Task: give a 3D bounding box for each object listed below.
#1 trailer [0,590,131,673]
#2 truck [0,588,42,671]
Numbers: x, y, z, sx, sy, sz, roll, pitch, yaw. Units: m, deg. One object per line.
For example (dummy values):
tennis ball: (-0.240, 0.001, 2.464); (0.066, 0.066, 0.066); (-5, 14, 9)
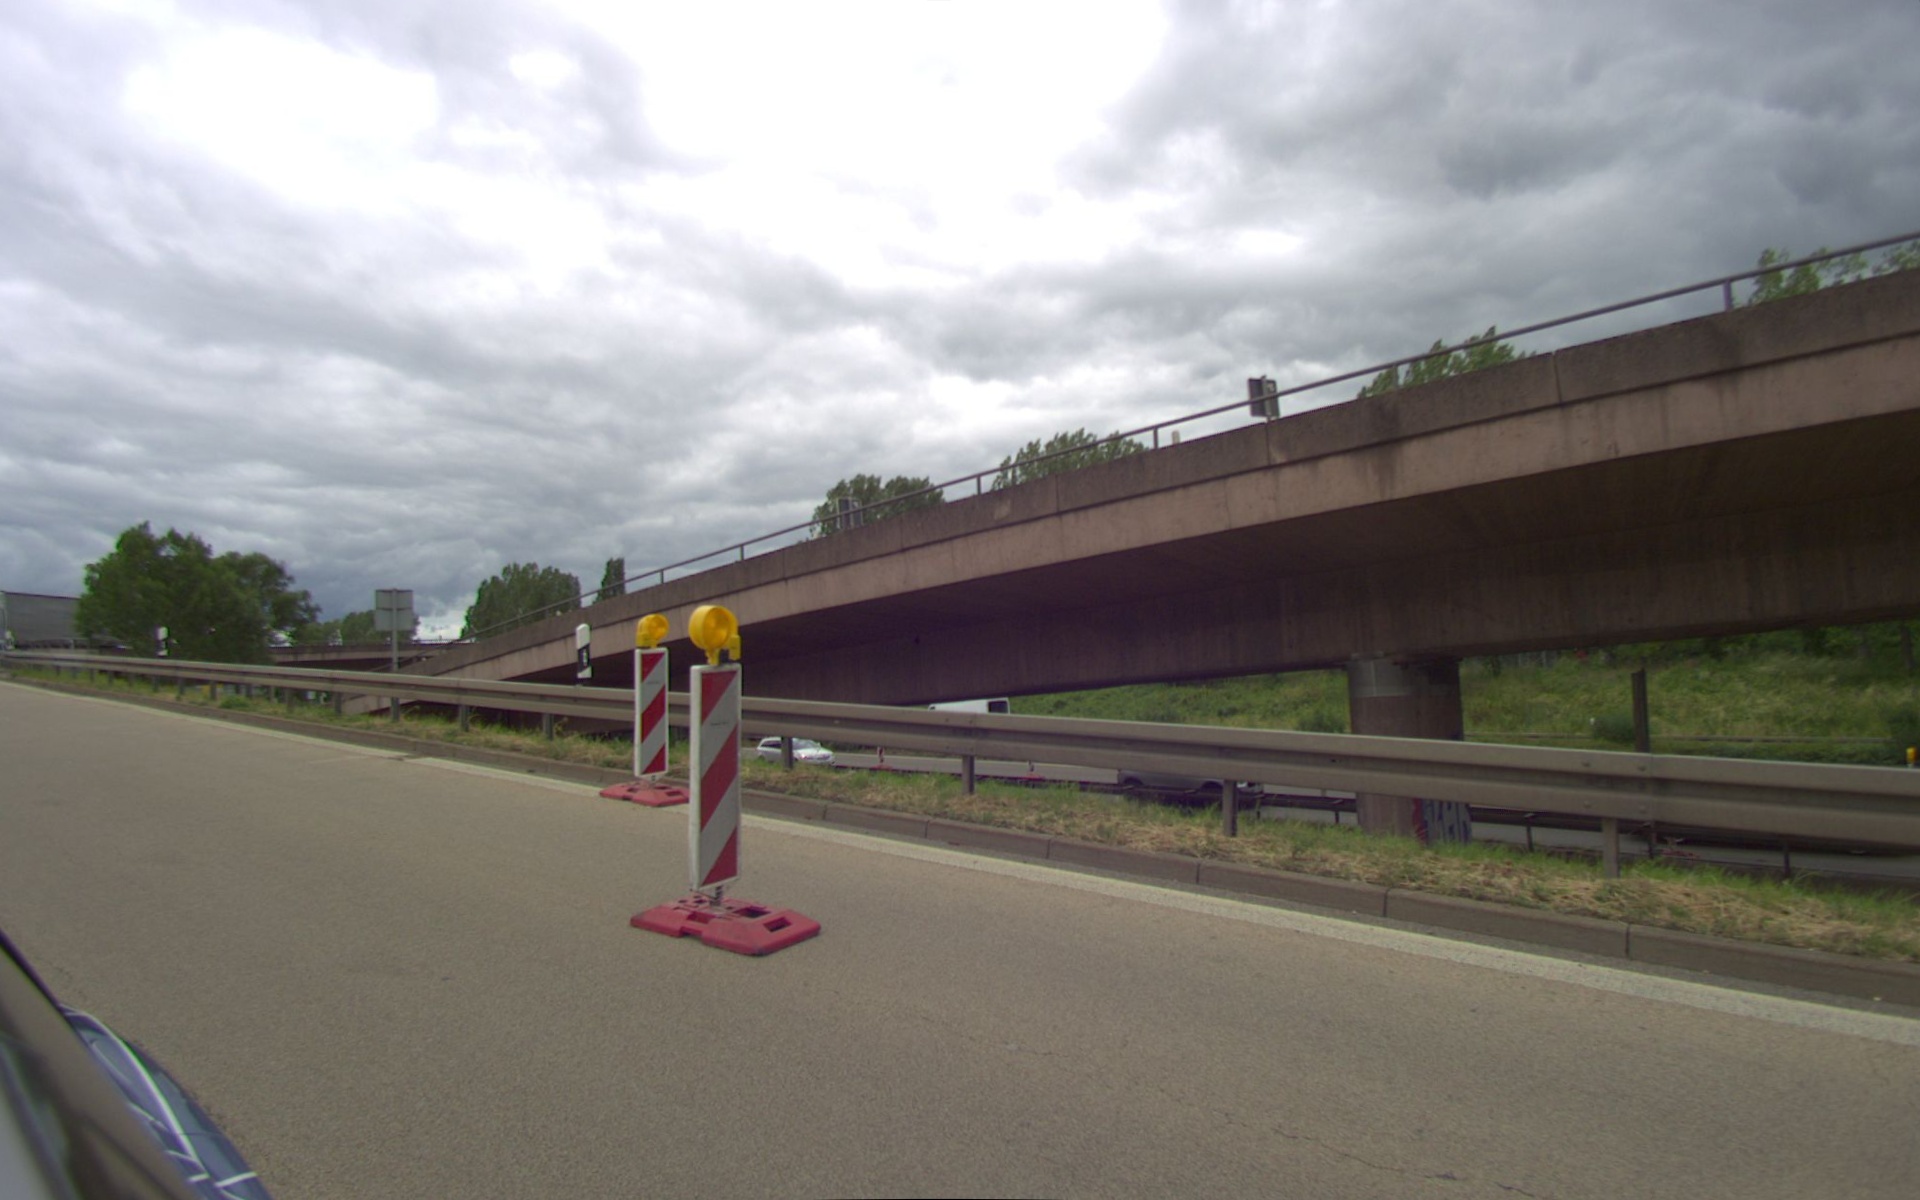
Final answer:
trailer: (-55.685, 2.133, 60.905); (4.058, 4.277, 13.931); (-2, -3, -18)
truck: (-53.407, 1.658, 54.256); (4.096, 4.336, 5.982); (-2, -3, -18)
